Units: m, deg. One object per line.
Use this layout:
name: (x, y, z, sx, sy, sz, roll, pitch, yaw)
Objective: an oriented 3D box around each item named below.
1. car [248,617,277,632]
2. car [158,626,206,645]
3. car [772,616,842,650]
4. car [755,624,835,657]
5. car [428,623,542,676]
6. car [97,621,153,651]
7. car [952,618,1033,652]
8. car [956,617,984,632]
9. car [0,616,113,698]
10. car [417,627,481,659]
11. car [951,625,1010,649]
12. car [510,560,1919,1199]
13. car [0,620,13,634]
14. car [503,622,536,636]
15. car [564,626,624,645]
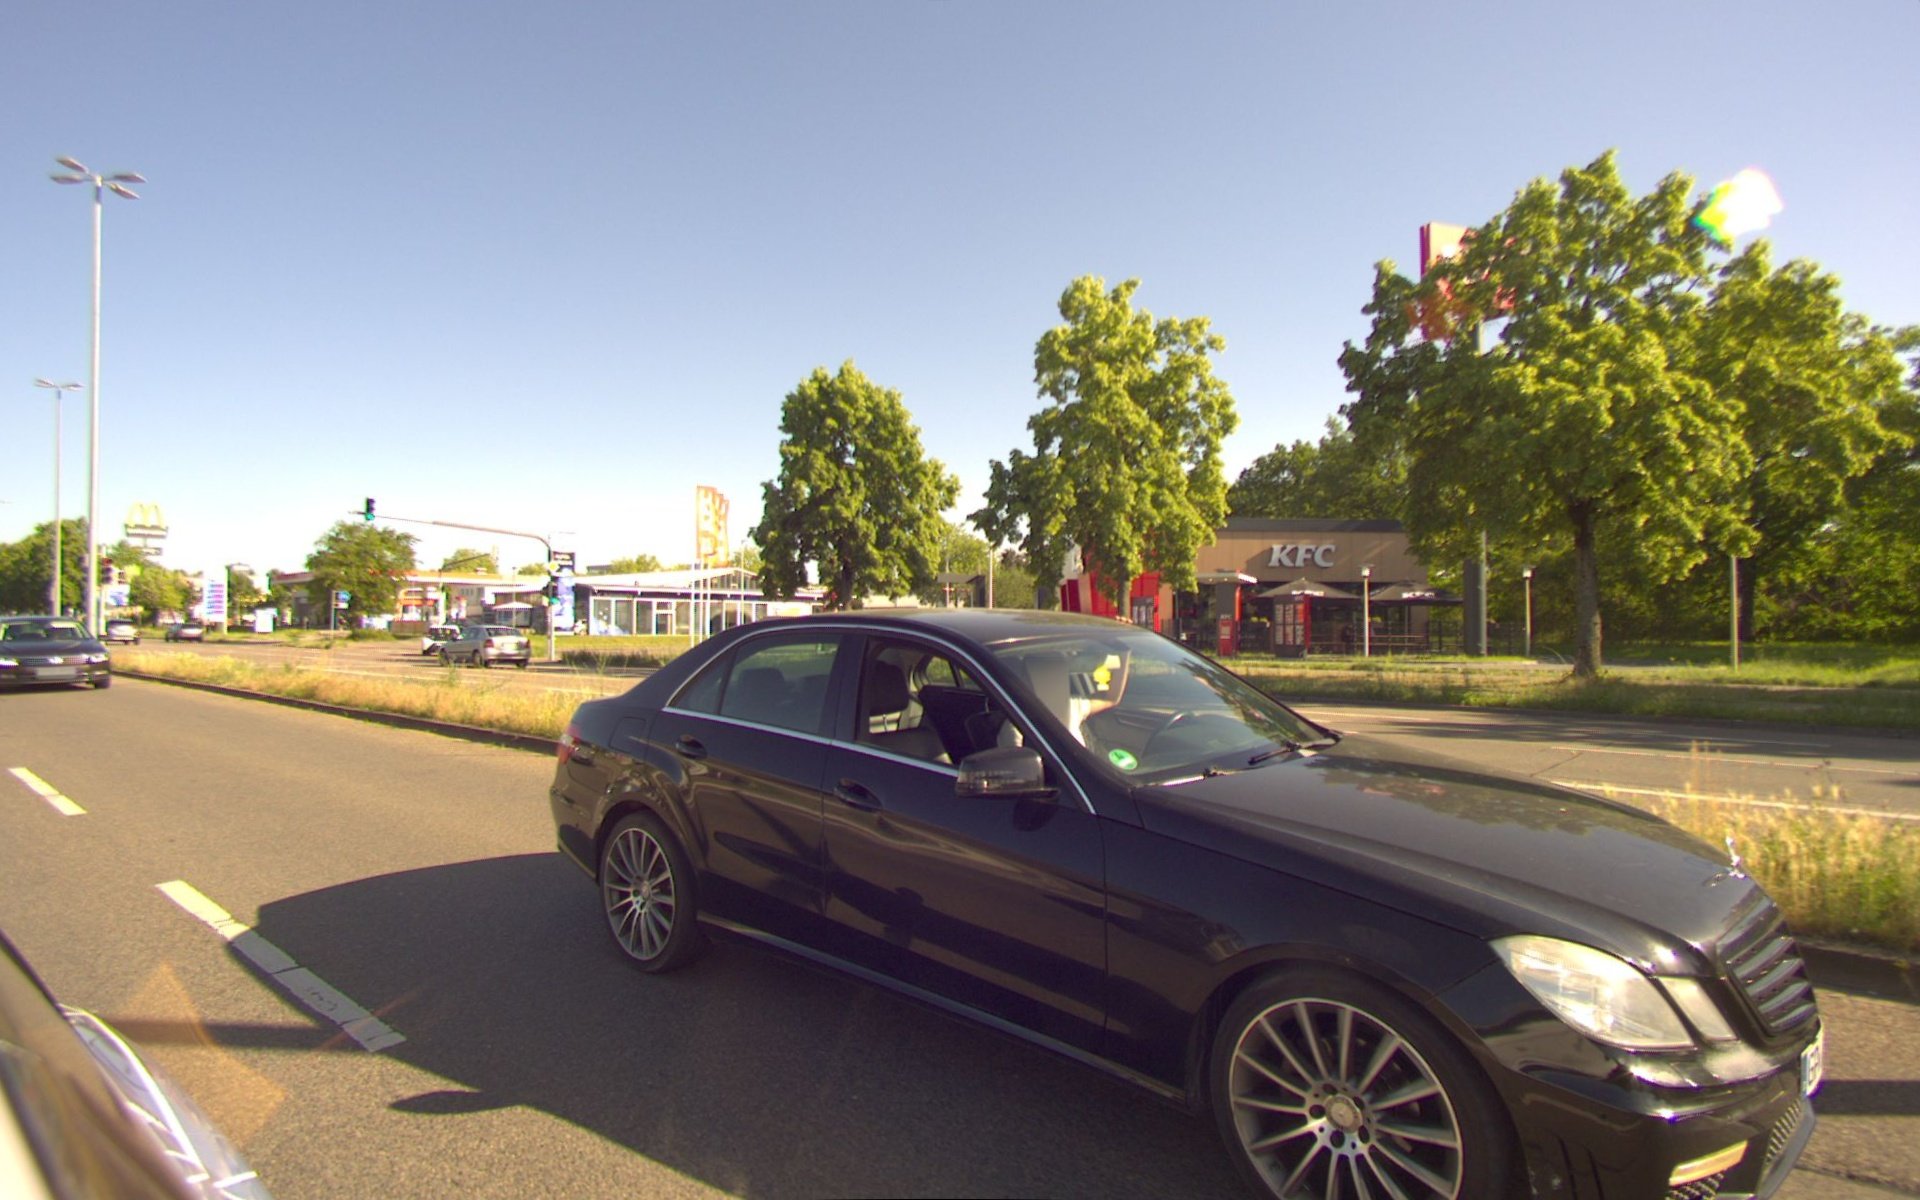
car: (-83.615, 2.929, 121.327, 4.116, 1.625, 1.740, -1, -3, 40)
car: (-59.109, 2.700, 76.866, 4.620, 1.387, 1.973, -1, -2, 41)
car: (-8.910, 1.926, 59.236, 3.777, 1.864, 1.847, -1, 0, 1)
car: (-8.920, 2.178, 54.906, 4.073, 1.674, 1.896, -1, 0, -2)
car: (-16.208, 1.650, 34.471, 4.175, 1.697, 1.973, -1, -3, 41)
car: (-49.792, 2.144, 60.343, 4.168, 1.654, 1.855, -1, -3, 41)
car: (1.705, 1.860, 54.044, 4.181, 1.674, 1.896, -1, 0, -2)
car: (1.509, 3.688, 149.708, 4.063, 2.109, 1.900, 1, -2, 1)
car: (-18.436, 1.069, 20.122, 4.264, 1.464, 1.825, -1, -1, 41)
car: (-24.833, 2.061, 49.304, 1.966, 1.485, 4.208, 1, -2, -16)
car: (1.403, 2.537, 69.914, 3.940, 1.530, 1.885, -1, 0, -4)
car: (0.385, 0.730, 3.792, 4.916, 1.494, 1.938, -1, -1, 42)
car: (-117.164, 3.307, 123.545, 4.265, 1.612, 1.875, -1, -3, 41)
car: (-50.974, 3.320, 117.137, 4.116, 1.603, 1.876, -1, -2, 40)
car: (-29.099, 2.815, 80.512, 1.900, 1.443, 4.063, -1, -3, 41)
